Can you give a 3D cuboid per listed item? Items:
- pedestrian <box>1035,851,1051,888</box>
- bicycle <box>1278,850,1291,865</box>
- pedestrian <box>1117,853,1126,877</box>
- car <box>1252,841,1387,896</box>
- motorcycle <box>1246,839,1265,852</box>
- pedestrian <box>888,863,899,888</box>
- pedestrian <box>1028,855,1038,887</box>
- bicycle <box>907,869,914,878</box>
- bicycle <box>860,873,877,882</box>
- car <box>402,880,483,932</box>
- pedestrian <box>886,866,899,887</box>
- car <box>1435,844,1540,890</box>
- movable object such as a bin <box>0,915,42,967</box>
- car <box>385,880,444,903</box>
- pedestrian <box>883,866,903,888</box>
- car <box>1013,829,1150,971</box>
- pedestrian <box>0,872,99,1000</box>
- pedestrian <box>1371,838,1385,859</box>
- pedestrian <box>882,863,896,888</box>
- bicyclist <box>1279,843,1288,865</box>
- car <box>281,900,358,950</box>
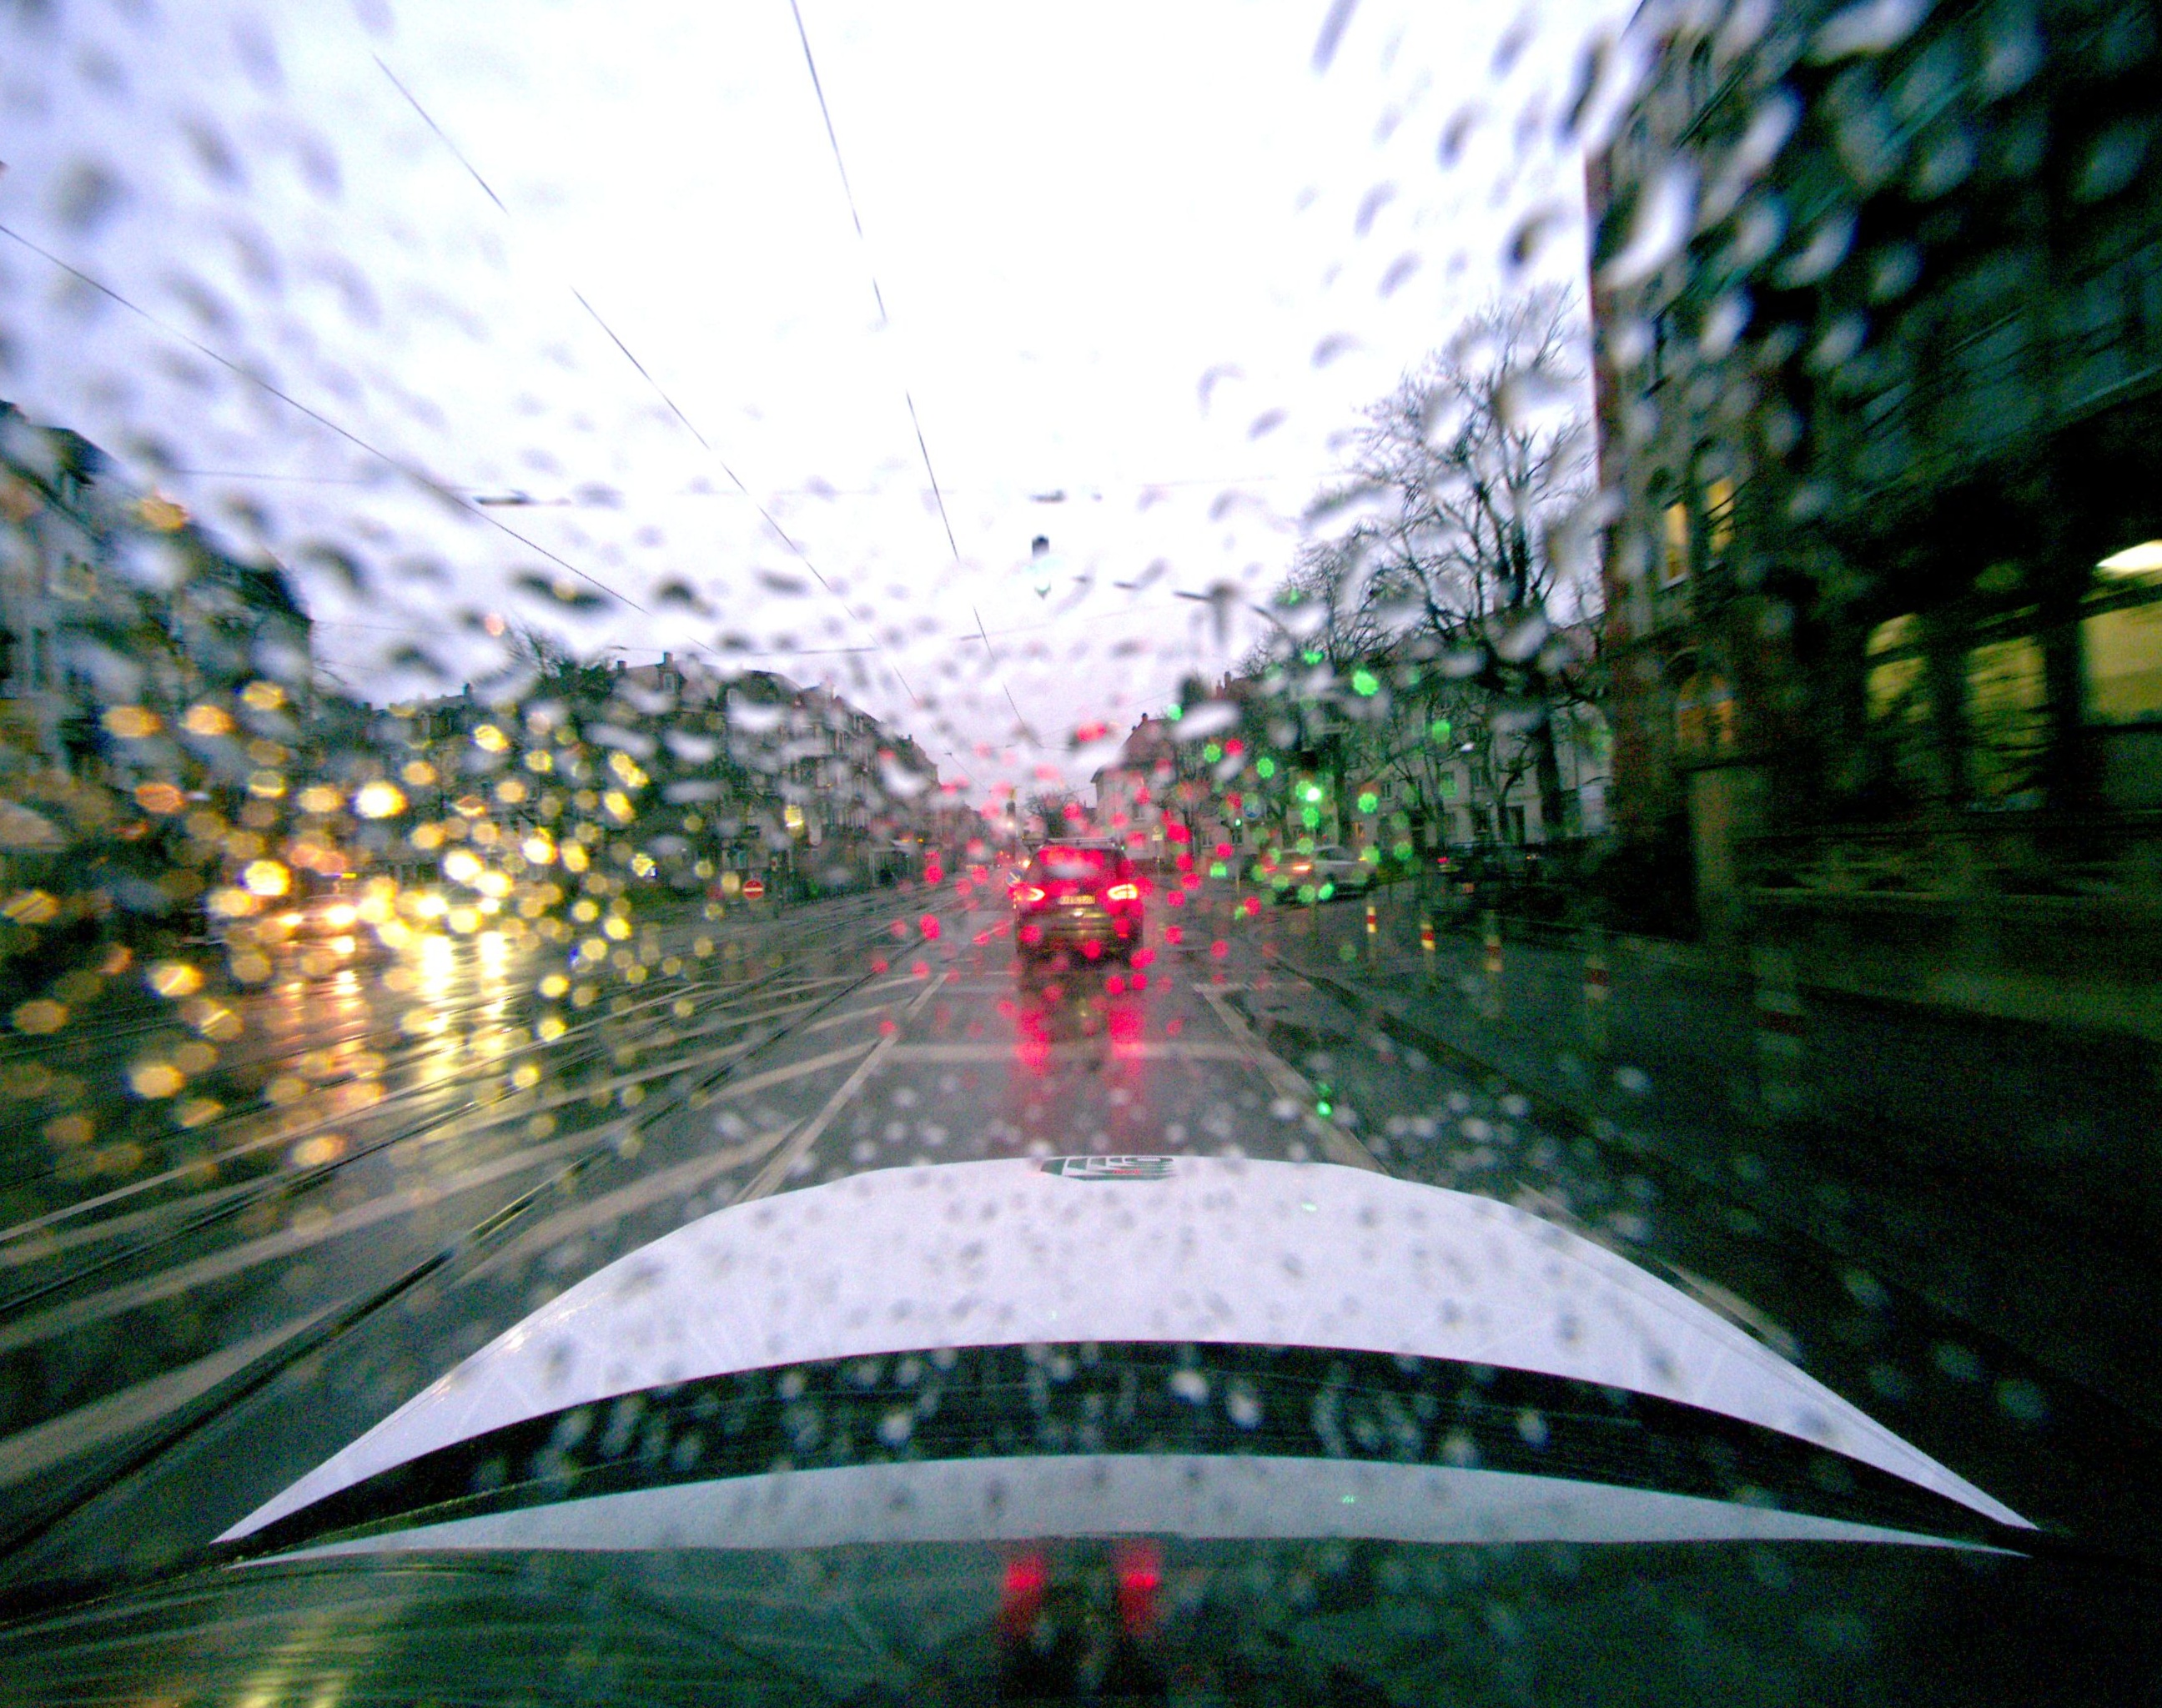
[{"bbox_3d":[-2.015,0.820,43.518,0.851,1.956,0.570,0,-1,-3],"label":"pedestrian"},{"bbox_3d":[17.618,0.321,70.588,0.465,1.291,1.912,-3,0,-3],"label":"bicycle"},{"bbox_3d":[3.254,0.901,65.434,0.711,1.917,0.690,0,-1,8],"label":"pedestrian"},{"bbox_3d":[7.343,0.424,24.762,1.876,1.510,4.781,0,-1,45],"label":"car"},{"bbox_3d":[15.443,-0.750,72.101,0.573,1.105,1.584,-5,2,-39],"label":"motorcycle"},{"bbox_3d":[-10.613,1.221,46.118,0.472,1.403,0.453,0,-1,-3],"label":"pedestrian"},{"bbox_3d":[-2.642,0.936,44.957,0.556,1.741,0.570,0,-1,-2],"label":"pedestrian"},{"bbox_3d":[-19.037,2.148,90.784,0.415,1.007,1.848,-3,0,-2],"label":"bicycle"},{"bbox_3d":[-21.055,2.325,80.595,0.395,0.759,1.823,-3,0,33],"label":"bicycle"},{"bbox_3d":[-22.149,1.734,28.205,1.948,1.583,4.291,0,-1,-42],"label":"car"},{"bbox_3d":[-11.064,1.340,47.837,0.651,1.218,0.516,0,-1,-3],"label":"pedestrian"},{"bbox_3d":[16.052,0.508,32.108,4.356,1.728,1.789,1,-1,-33],"label":"car"},{"bbox_3d":[-24.774,2.008,18.924,0.640,1.135,0.696,-3,-1,34],"label":"movable object such as a bin"},{"bbox_3d":[-58.297,3.266,71.203,3.957,1.706,2.009,-3,0,16],"label":"car"},{"bbox_3d":[-10.909,1.316,47.310,1.053,1.254,0.506,0,-1,-4],"label":"pedestrian"},{"bbox_3d":[-0.030,0.630,12.786,1.797,1.871,4.015,0,-1,-1],"label":"car"},{"bbox_3d":[-16.107,1.233,12.699,0.787,1.878,0.900,0,-1,33],"label":"pedestrian"},{"bbox_3d":[23.589,-0.442,64.744,0.689,1.660,0.708,-3,0,-28],"label":"pedestrian"},{"bbox_3d":[-10.771,1.216,45.644,0.682,1.403,0.577,0,-1,-3],"label":"pedestrian"},{"bbox_3d":[17.574,-0.008,70.690,0.465,1.886,0.679,-3,-1,-3],"label":"bicyclist"},{"bbox_3d":[-27.242,2.498,29.236,1.621,1.472,3.783,1,-1,-37],"label":"car"}]
